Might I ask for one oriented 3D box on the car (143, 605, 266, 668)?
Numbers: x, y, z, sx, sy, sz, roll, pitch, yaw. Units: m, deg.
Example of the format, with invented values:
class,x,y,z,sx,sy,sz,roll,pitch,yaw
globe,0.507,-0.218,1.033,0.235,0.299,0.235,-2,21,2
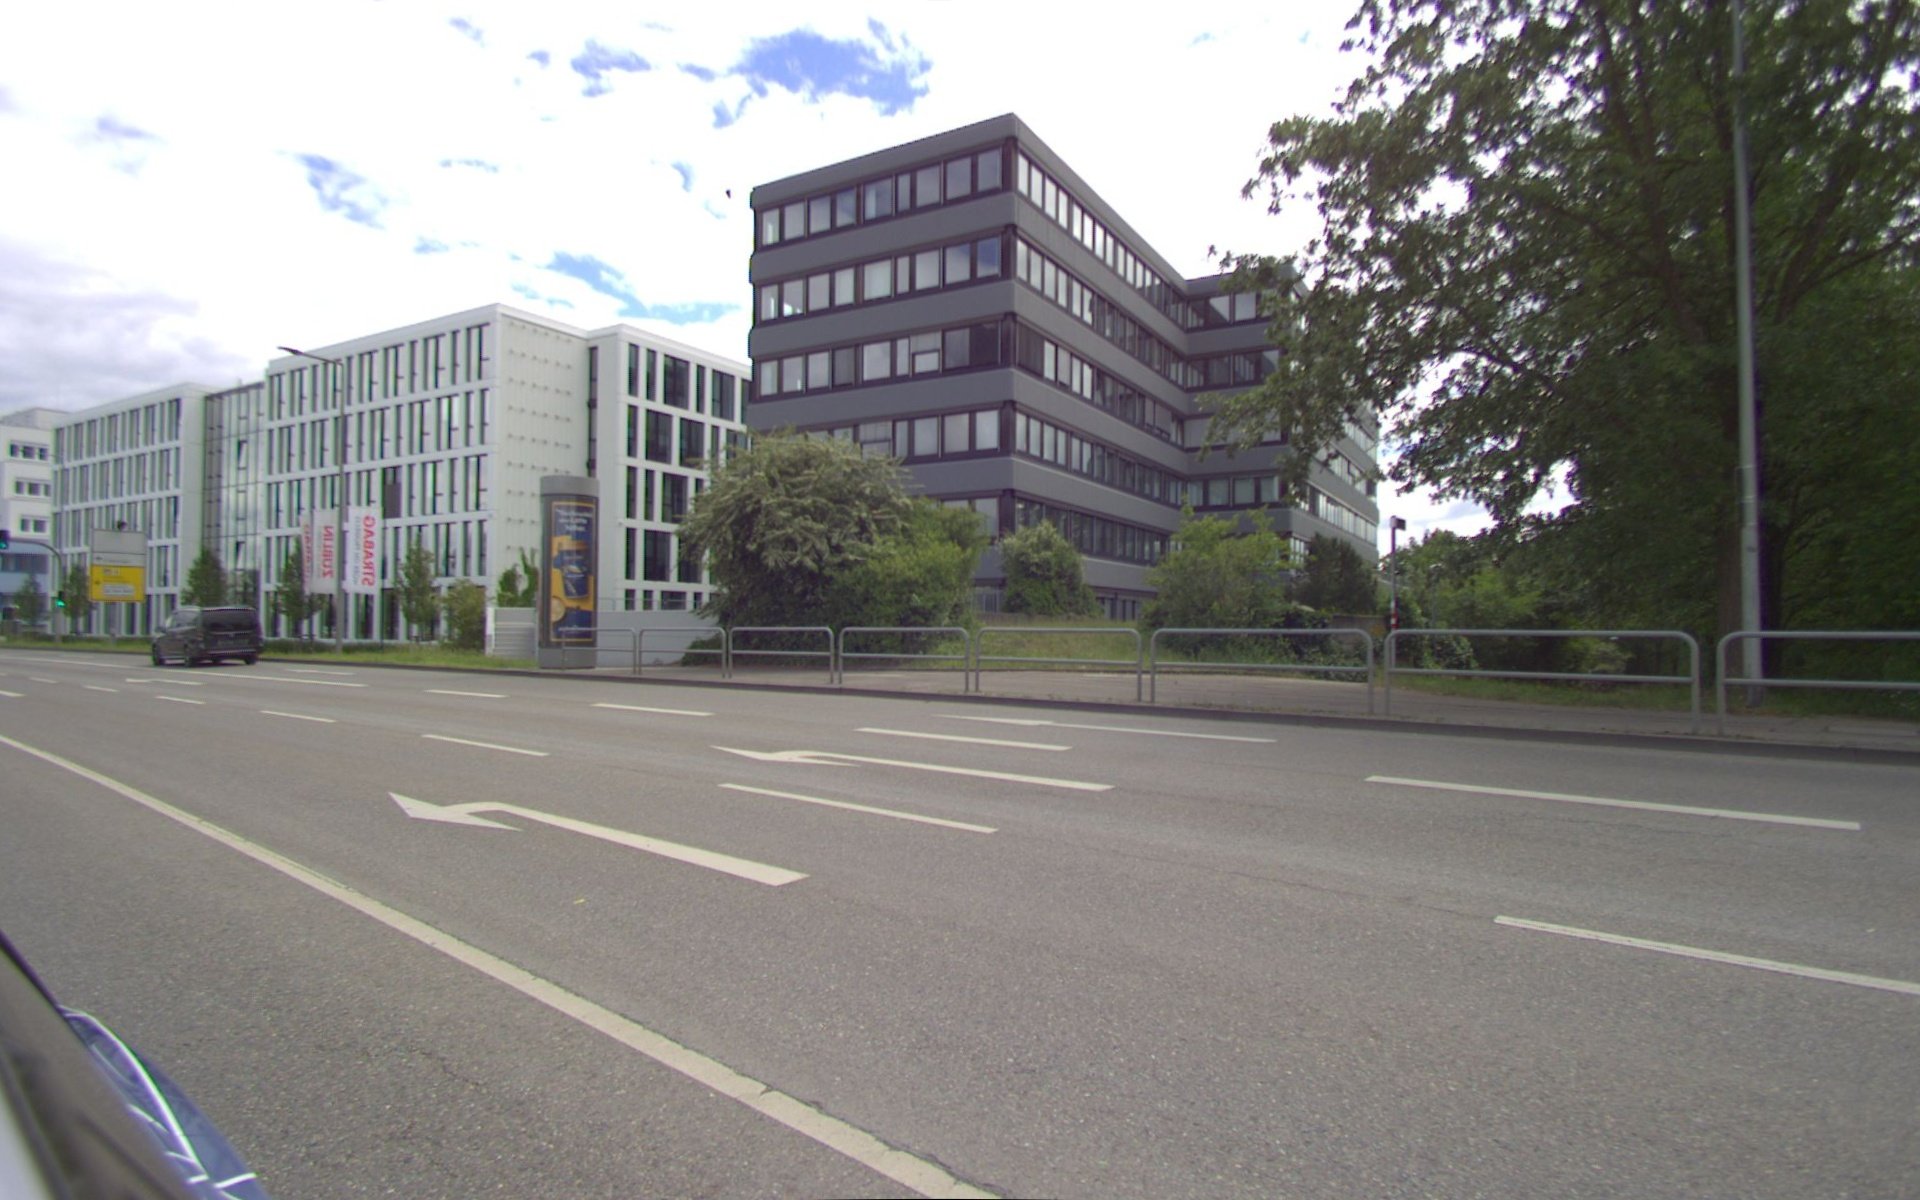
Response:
class,x,y,z,sx,sy,sz,roll,pitch,yaw
car,-25.178,1.190,33.660,5.358,1.962,1.998,-2,-2,39
